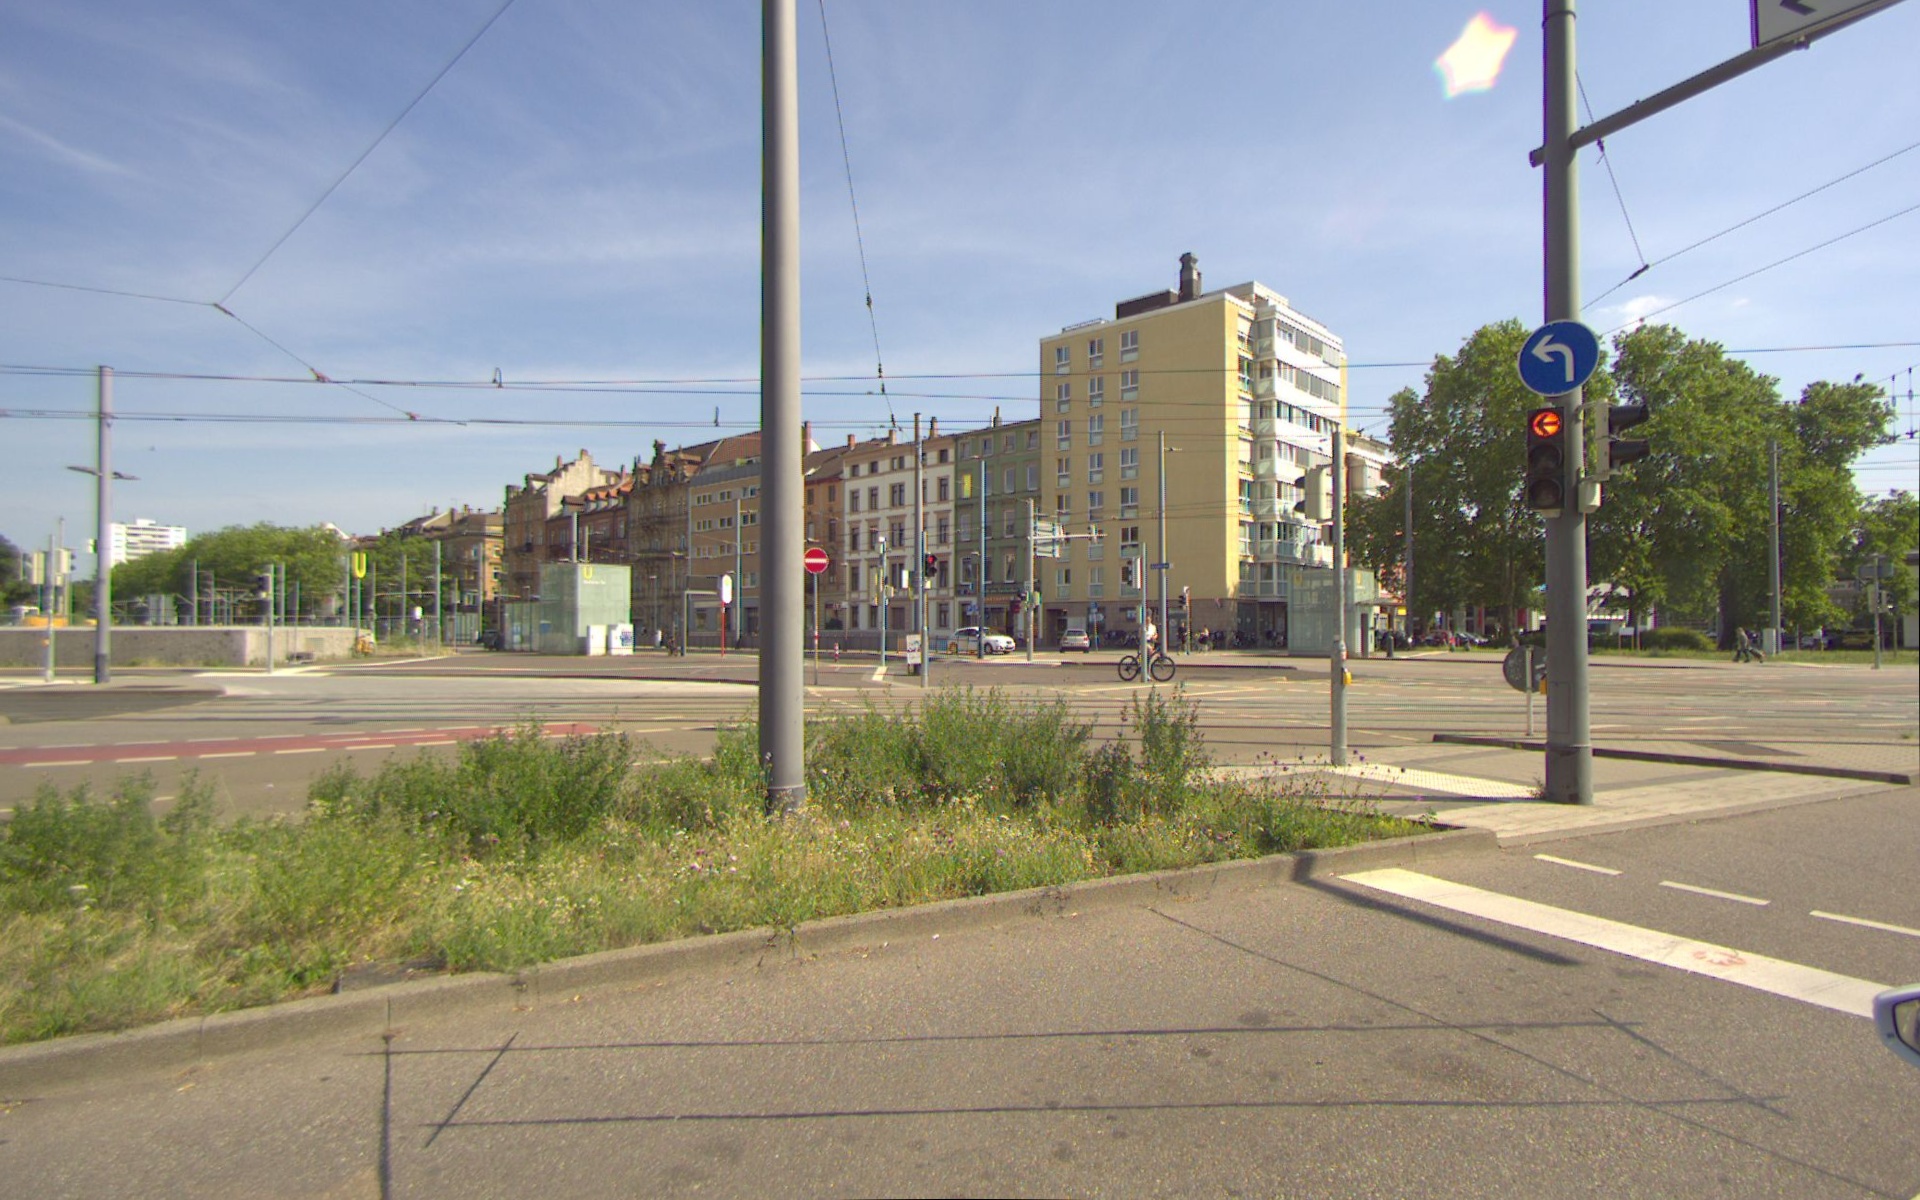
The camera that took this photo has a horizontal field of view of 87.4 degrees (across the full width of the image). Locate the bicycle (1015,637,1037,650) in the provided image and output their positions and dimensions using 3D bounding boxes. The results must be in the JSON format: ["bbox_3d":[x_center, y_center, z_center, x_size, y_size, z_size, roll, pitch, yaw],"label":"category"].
[{"bbox_3d":[4.993,3.298,76.309,1.755,0.977,0.412,-2,0,43],"label":"bicycle"}]

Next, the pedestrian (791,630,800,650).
[{"bbox_3d":[-13.685,3.318,83.705,0.518,1.687,0.551,-2,-2,43],"label":"pedestrian"}]

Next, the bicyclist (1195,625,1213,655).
[{"bbox_3d":[13.123,2.173,54.036,0.605,1.593,0.728,1,-3,-29],"label":"bicyclist"}]

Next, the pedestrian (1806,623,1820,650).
[{"bbox_3d":[51.334,2.203,60.457,0.455,1.617,0.393,2,0,-6],"label":"pedestrian"}]

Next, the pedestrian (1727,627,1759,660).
[{"bbox_3d":[35.254,1.938,45.205,1.100,1.422,0.654,2,0,39],"label":"pedestrian"}]

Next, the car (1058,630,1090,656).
[{"bbox_3d":[7.010,2.665,62.078,1.777,1.458,4.004,1,-4,4],"label":"car"}]

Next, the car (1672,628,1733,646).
[{"bbox_3d":[66.630,3.307,90.192,1.976,1.390,3.968,2,0,-30],"label":"car"}]

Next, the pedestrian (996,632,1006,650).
[{"bbox_3d":[3.200,3.181,78.295,0.637,1.392,0.524,-1,-2,43],"label":"pedestrian"}]

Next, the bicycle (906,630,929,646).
[{"bbox_3d":[-3.036,2.720,71.248,0.589,1.109,1.738,0,-2,43],"label":"bicycle"}]

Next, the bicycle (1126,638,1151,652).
[{"bbox_3d":[12.230,3.053,68.713,0.579,0.928,1.737,0,-2,-39],"label":"bicycle"}]

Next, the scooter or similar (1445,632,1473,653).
[{"bbox_3d":[27.090,2.316,54.530,0.509,1.134,1.358,0,-1,-19],"label":"scooter or similar"}]

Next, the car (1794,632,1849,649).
[{"bbox_3d":[70.174,3.279,81.822,3.946,1.261,1.988,2,0,-25],"label":"car"}]

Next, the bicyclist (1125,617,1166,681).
[{"bbox_3d":[5.044,1.330,27.268,0.745,1.706,0.768,2,-4,-40],"label":"bicyclist"}]

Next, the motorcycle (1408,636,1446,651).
[{"bbox_3d":[28.321,2.635,60.957,1.997,0.853,0.641,0,-1,4],"label":"motorcycle"}]

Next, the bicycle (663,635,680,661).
[{"bbox_3d":[-13.175,2.181,45.905,0.408,1.085,1.651,0,0,-28],"label":"bicycle"}]

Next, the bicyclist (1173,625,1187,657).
[{"bbox_3d":[12.110,2.261,55.279,0.575,1.757,0.615,-2,-3,37],"label":"bicyclist"}]

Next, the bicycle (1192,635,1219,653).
[{"bbox_3d":[15.870,2.859,64.984,0.578,1.100,1.740,-3,0,-34],"label":"bicycle"}]

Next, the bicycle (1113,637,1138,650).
[{"bbox_3d":[11.537,3.038,70.043,1.733,0.928,0.580,-2,-2,44],"label":"bicycle"}]

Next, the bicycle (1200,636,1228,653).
[{"bbox_3d":[16.497,2.867,65.209,0.579,1.056,1.737,0,-2,-40],"label":"bicycle"}]

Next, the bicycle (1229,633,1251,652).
[{"bbox_3d":[18.356,2.786,65.768,0.534,1.201,1.878,-1,-2,45],"label":"bicycle"}]

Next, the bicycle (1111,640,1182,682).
[{"bbox_3d":[5.043,1.645,27.275,0.745,1.098,1.828,2,-4,-40],"label":"bicycle"}]

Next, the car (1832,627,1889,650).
[{"bbox_3d":[71.649,3.092,79.962,3.946,1.706,1.988,2,0,-25],"label":"car"}]

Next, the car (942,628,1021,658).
[{"bbox_3d":[1.124,2.279,53.674,4.067,1.417,1.749,-1,1,43],"label":"car"}]

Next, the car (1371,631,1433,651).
[{"bbox_3d":[33.764,3.122,76.780,3.945,1.287,1.733,1,0,44],"label":"car"}]

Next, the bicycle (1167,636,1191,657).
[{"bbox_3d":[12.088,2.575,55.447,0.575,1.145,1.790,-2,-3,37],"label":"bicycle"}]

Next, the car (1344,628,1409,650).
[{"bbox_3d":[30.514,2.835,73.675,3.945,1.459,1.879,1,0,44],"label":"car"}]

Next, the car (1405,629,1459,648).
[{"bbox_3d":[38.901,3.179,82.883,3.684,1.358,1.733,1,0,44],"label":"car"}]

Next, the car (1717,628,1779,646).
[{"bbox_3d":[70.330,3.248,89.710,1.977,1.572,3.967,1,-2,-31],"label":"car"}]

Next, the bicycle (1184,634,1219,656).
[{"bbox_3d":[12.974,2.422,53.974,1.775,1.145,0.749,1,-2,-30],"label":"bicycle"}]

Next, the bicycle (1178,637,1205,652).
[{"bbox_3d":[15.306,2.945,66.351,0.579,0.978,1.736,0,-2,-41],"label":"bicycle"}]

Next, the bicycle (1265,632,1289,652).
[{"bbox_3d":[20.461,2.724,64.860,1.740,1.235,0.578,0,-1,-37],"label":"bicycle"}]

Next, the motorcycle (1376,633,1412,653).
[{"bbox_3d":[24.787,2.457,57.384,0.631,1.076,2.028,1,-2,-22],"label":"motorcycle"}]

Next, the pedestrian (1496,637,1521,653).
[{"bbox_3d":[32.297,2.651,59.111,1.159,0.904,0.818,-1,-2,41],"label":"pedestrian"}]

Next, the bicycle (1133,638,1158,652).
[{"bbox_3d":[12.739,3.069,68.945,0.579,0.928,1.737,0,-2,-39],"label":"bicycle"}]
